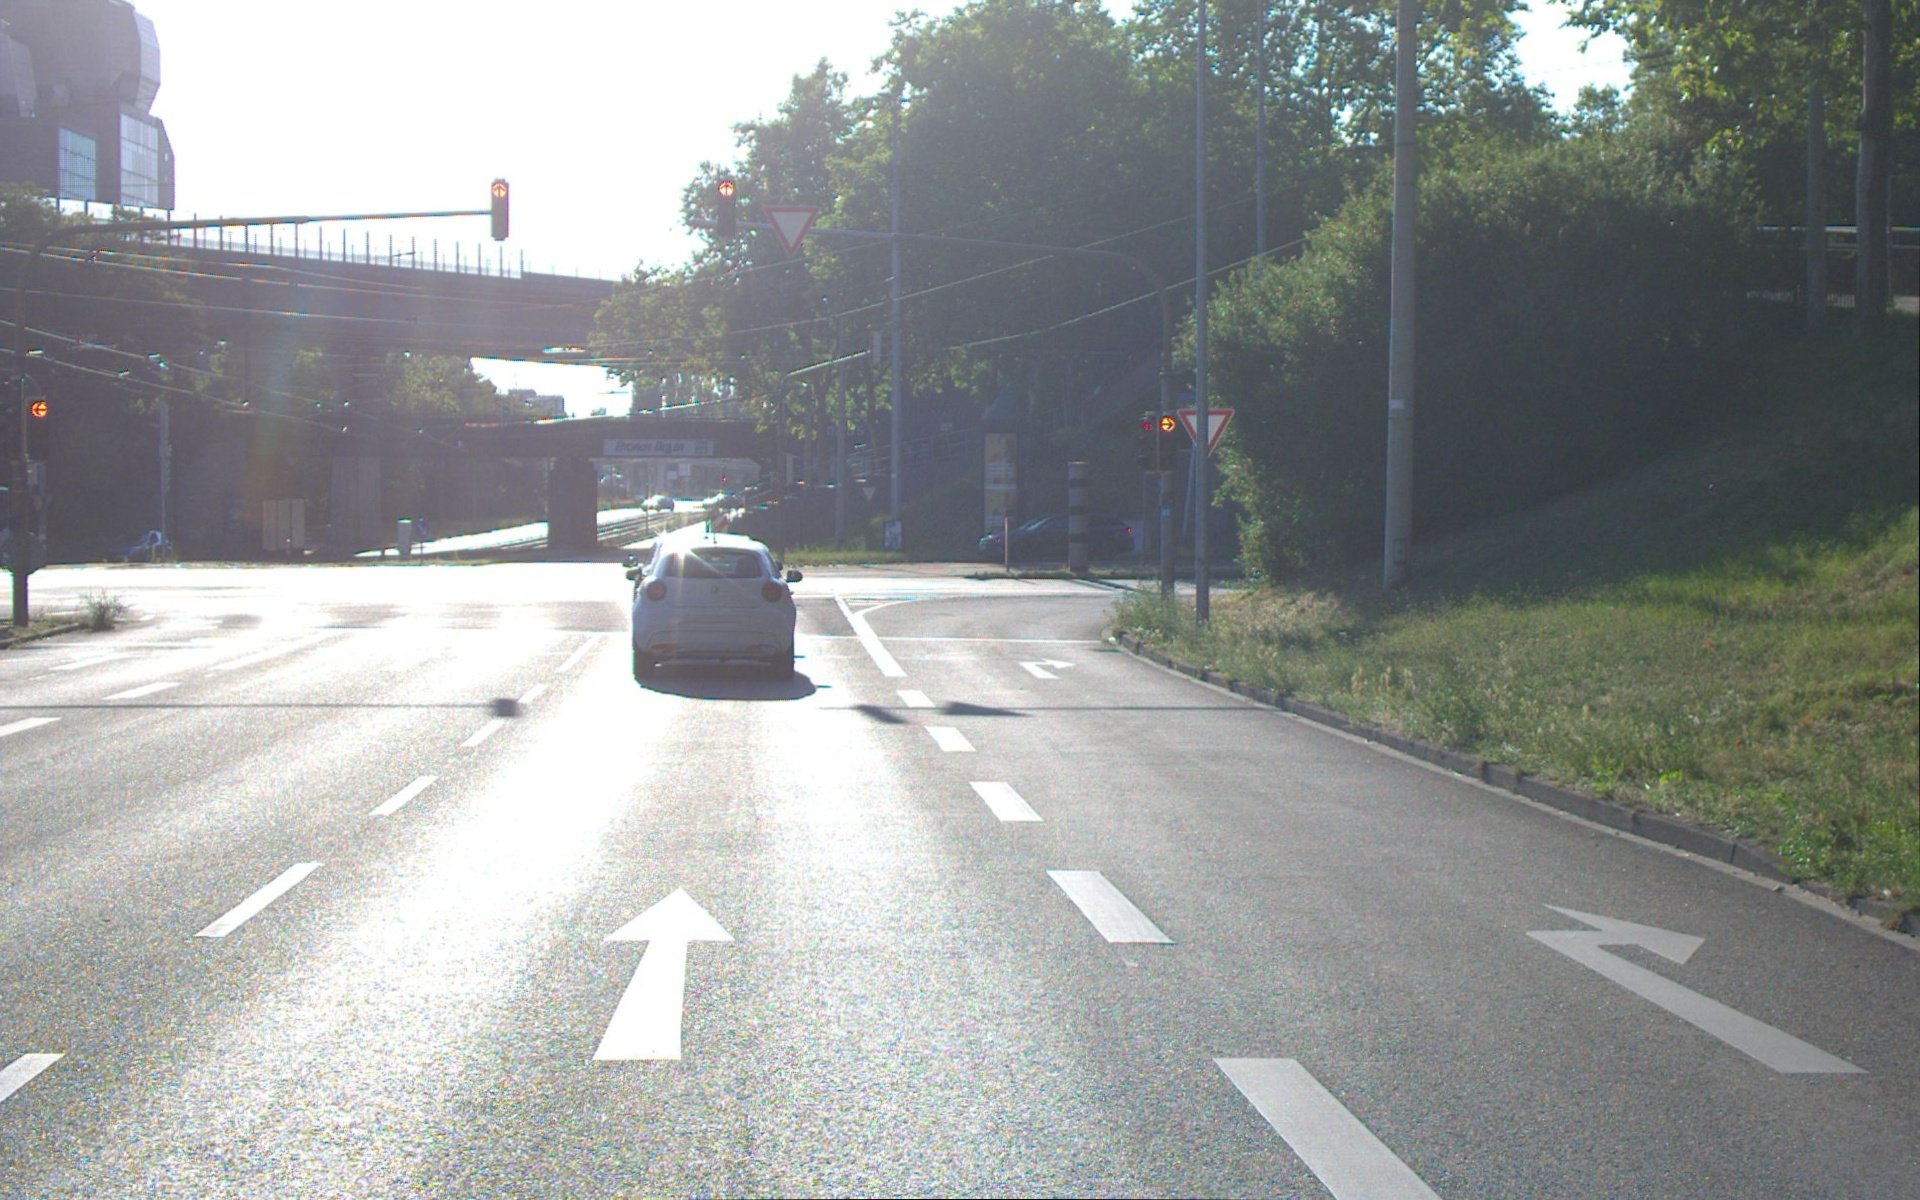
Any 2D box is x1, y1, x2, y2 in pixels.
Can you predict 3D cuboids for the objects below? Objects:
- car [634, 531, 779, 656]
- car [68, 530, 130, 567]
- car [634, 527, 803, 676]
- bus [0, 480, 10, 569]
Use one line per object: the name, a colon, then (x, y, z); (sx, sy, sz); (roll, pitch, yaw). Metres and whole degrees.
car: (-3.262, -0.120, 43.643); (1.713, 1.460, 4.208); (0, 2, -6)
car: (-35.387, -2.129, 141.373); (1.606, 1.414, 4.008); (1, 1, -1)
car: (-2.630, -0.026, 37.331); (1.736, 1.500, 4.001); (0, 2, -4)
bus: (-34.986, -2.654, 115.637); (2.543, 3.119, 12.918); (0, 0, 0)
